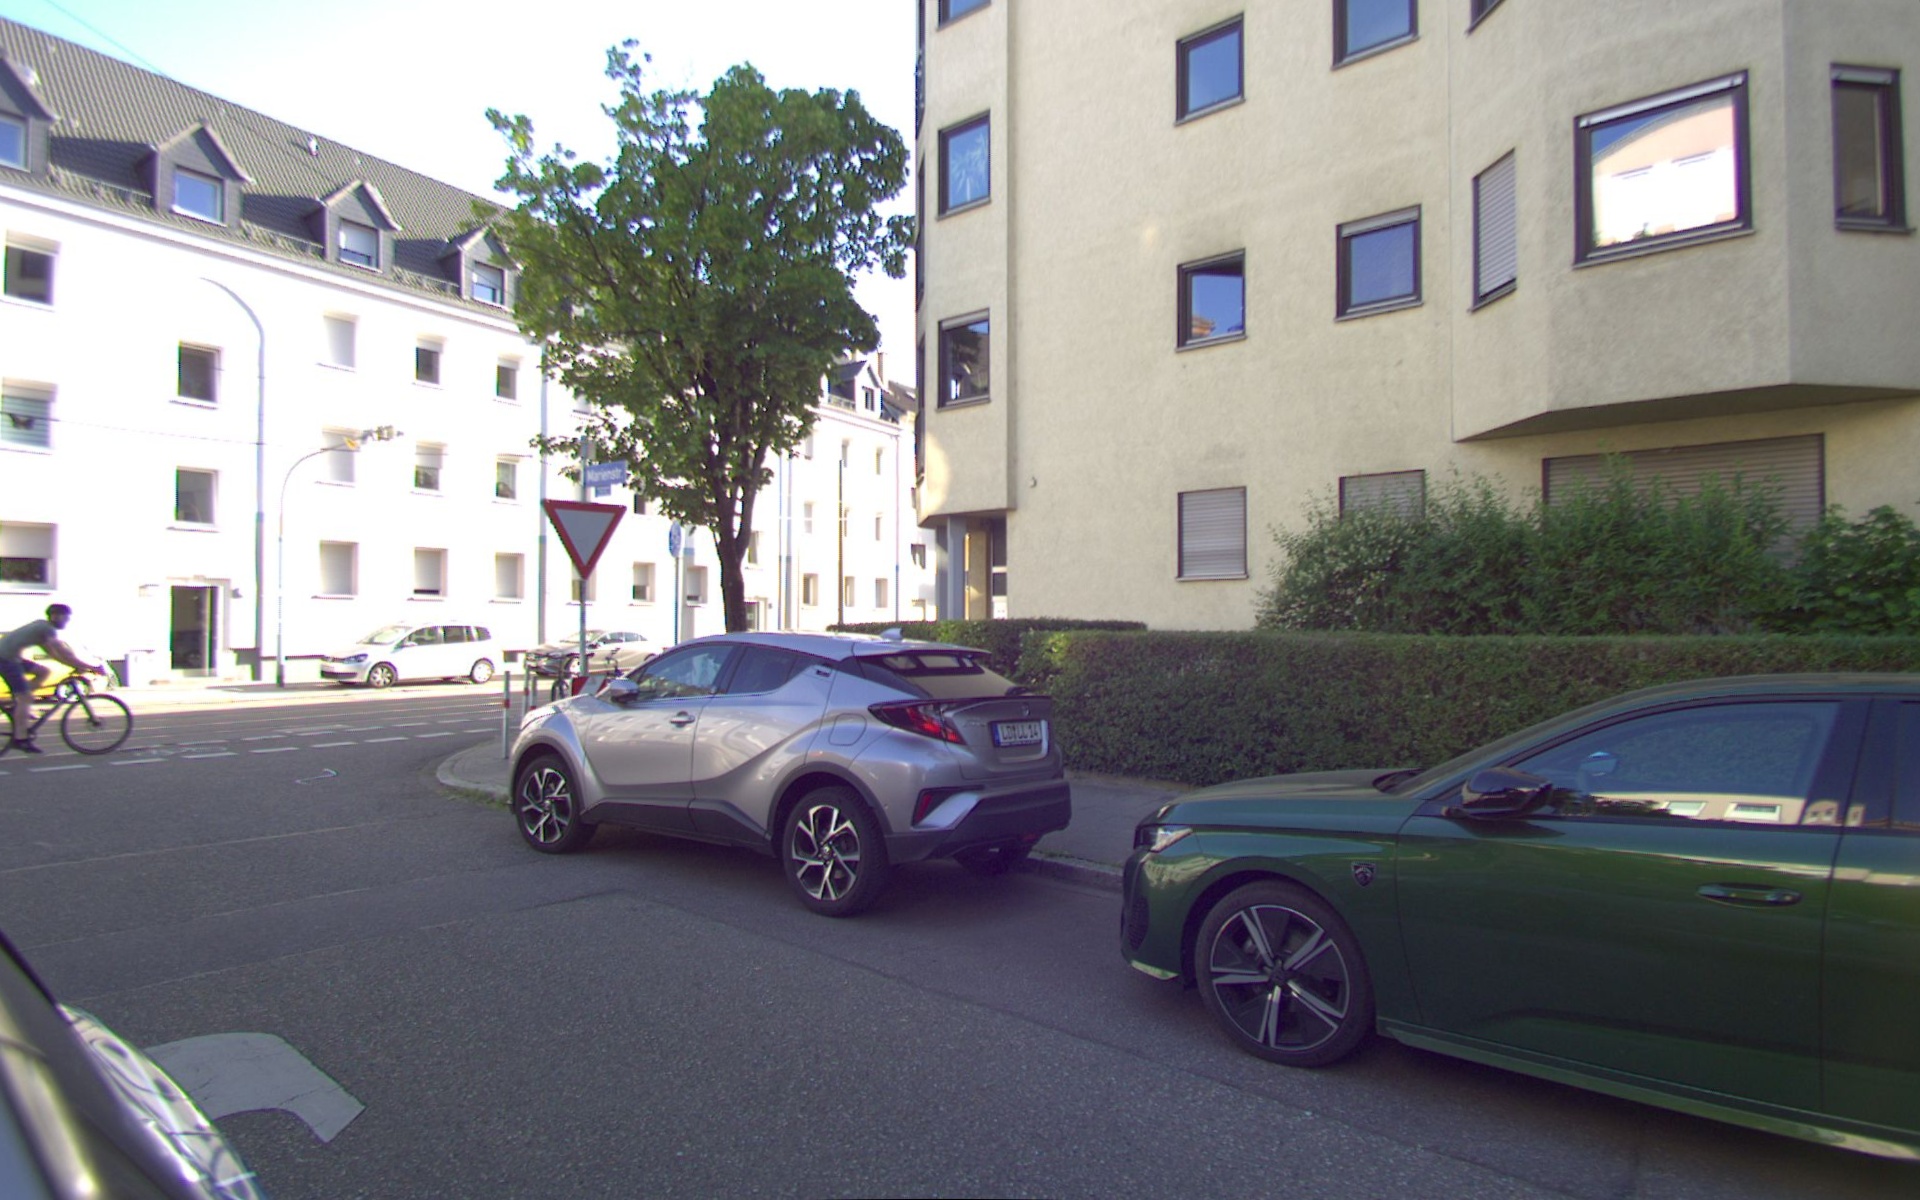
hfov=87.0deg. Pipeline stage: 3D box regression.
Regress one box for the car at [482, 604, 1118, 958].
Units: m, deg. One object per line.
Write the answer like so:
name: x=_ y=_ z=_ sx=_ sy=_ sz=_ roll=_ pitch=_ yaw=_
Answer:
car: x=-1.175 y=0.938 z=6.757 sx=3.991 sy=1.672 sz=1.886 roll=-1 pitch=-4 yaw=35

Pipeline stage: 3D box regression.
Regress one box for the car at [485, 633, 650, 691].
car: x=-11.675 y=1.797 z=30.404 sx=1.865 sy=1.566 sz=4.315 roll=0 pitch=-1 yaw=34

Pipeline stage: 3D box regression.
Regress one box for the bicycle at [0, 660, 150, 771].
bicycle: x=-10.234 y=1.255 z=11.144 sx=0.622 sy=1.110 sz=1.939 roll=1 pitch=-1 yaw=32

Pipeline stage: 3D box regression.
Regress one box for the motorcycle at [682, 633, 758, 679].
motorcycle: x=-8.259 y=1.909 z=34.940 sx=0.806 sy=1.533 sz=2.676 roll=-1 pitch=-2 yaw=35

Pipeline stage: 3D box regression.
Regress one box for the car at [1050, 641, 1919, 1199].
car: x=2.516 y=0.938 z=3.463 sx=4.130 sy=1.508 sz=1.735 roll=-1 pitch=-4 yaw=39

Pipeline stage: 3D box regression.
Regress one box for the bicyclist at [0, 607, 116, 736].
bicyclist: x=-10.224 y=0.763 z=11.152 sx=1.183 sy=1.341 sz=1.083 roll=-1 pitch=-2 yaw=32

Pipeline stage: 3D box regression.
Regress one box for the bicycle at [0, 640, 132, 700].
bicycle: x=-19.568 y=1.488 z=21.917 sx=1.096 sy=1.206 sz=2.302 roll=-1 pitch=-2 yaw=32

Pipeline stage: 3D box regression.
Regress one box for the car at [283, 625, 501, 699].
car: x=-14.328 y=1.502 z=25.829 sx=1.754 sy=1.678 sz=4.578 roll=1 pitch=-1 yaw=30

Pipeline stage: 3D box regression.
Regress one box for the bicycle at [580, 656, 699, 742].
bicycle: x=-4.432 y=1.330 z=13.950 sx=1.808 sy=1.093 sz=0.588 roll=-1 pitch=-2 yaw=36

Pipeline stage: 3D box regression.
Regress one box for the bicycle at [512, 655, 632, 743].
bicycle: x=-5.306 y=1.320 z=13.796 sx=1.879 sy=1.093 sz=0.588 roll=-1 pitch=-2 yaw=36

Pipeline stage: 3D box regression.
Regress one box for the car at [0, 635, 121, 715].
car: x=-18.659 y=1.416 z=19.047 sx=1.514 sy=1.441 sz=4.155 roll=0 pitch=-1 yaw=32
